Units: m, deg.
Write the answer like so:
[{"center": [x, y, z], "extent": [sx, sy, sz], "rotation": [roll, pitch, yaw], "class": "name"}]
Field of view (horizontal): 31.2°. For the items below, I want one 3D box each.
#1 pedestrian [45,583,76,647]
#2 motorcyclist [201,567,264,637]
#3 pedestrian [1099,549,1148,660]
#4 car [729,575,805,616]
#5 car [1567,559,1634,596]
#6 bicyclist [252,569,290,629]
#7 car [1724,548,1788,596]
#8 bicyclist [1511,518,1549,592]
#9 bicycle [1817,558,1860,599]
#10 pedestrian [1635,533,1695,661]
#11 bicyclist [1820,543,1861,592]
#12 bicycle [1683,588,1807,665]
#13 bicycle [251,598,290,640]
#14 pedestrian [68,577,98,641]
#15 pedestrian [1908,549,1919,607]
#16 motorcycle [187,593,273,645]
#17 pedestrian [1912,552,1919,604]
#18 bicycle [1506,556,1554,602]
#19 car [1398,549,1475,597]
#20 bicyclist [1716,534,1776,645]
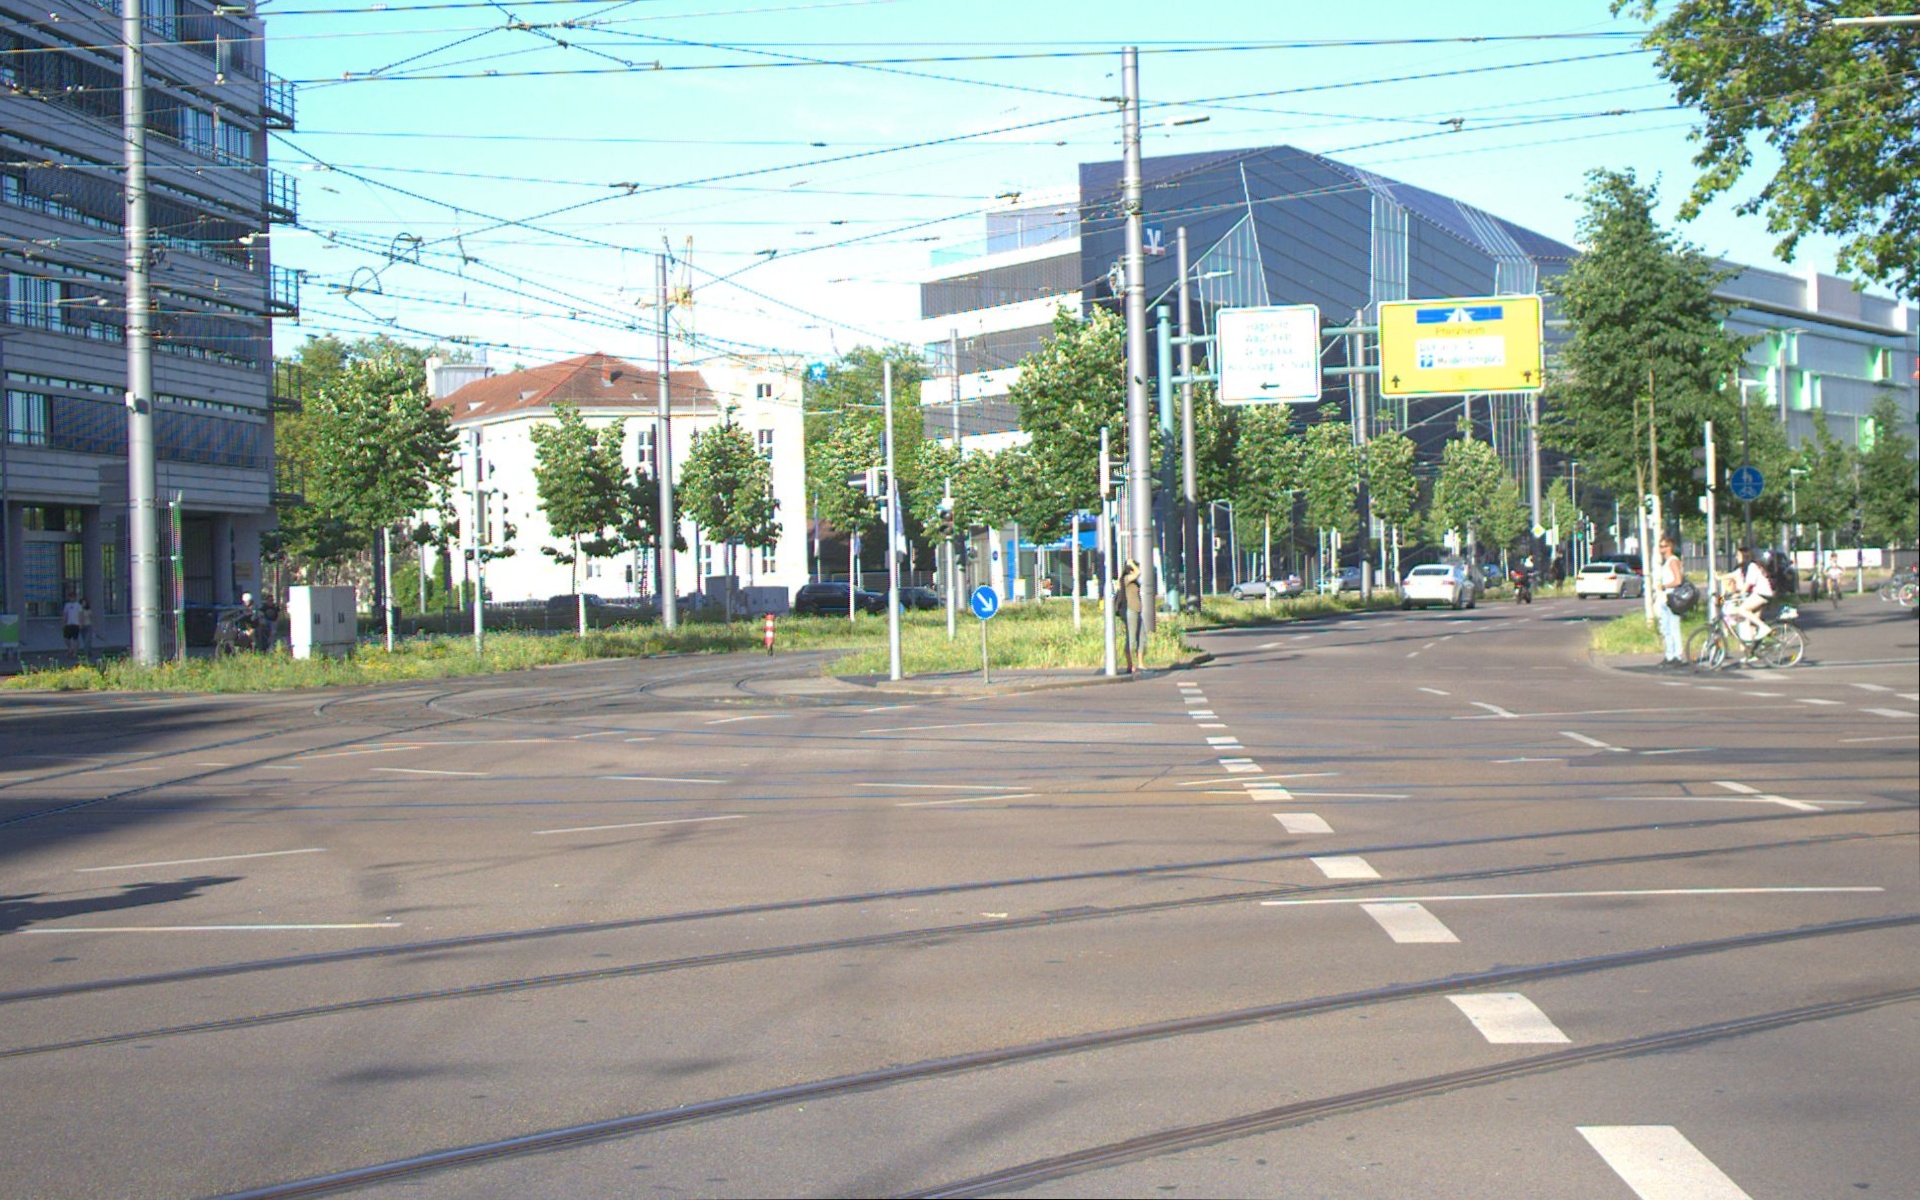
[{"center": [-24.552, 0.414, 93.835], "extent": [0.548, 1.727, 0.641], "rotation": [-2, 1, 7], "class": "pedestrian"}, {"center": [-18.373, 0.050, 86.852], "extent": [1.019, 1.725, 1.460], "rotation": [-1, 0, 12], "class": "motorcyclist"}, {"center": [2.353, 0.064, 49.534], "extent": [0.657, 1.577, 0.489], "rotation": [-1, 1, 5], "class": "pedestrian"}, {"center": [-9.782, -0.233, 174.155], "extent": [1.994, 2.007, 3.999], "rotation": [-2, 1, -35], "class": "car"}, {"center": [25.281, -0.913, 135.581], "extent": [2.017, 1.371, 4.035], "rotation": [-1, 1, 19], "class": "car"}, {"center": [-19.103, -0.032, 95.314], "extent": [0.764, 1.661, 0.994], "rotation": [-1, 1, 3], "class": "bicyclist"}, {"center": [31.456, -1.081, 135.785], "extent": [2.055, 1.867, 4.223], "rotation": [0, 0, 19], "class": "car"}, {"center": [20.679, -1.637, 124.702], "extent": [1.017, 2.615, 1.470], "rotation": [-1, 1, 20], "class": "bicyclist"}, {"center": [25.031, -0.615, 98.013], "extent": [1.040, 1.129, 3.179], "rotation": [-1, 1, 12], "class": "bicycle"}, {"center": [10.193, -0.042, 49.719], "extent": [0.702, 1.830, 0.514], "rotation": [0, 0, 37], "class": "pedestrian"}, {"center": [25.012, -0.932, 97.708], "extent": [1.040, 1.376, 1.563], "rotation": [-1, 1, 12], "class": "bicyclist"}, {"center": [10.840, 0.366, 47.511], "extent": [1.628, 1.018, 0.516], "rotation": [-2, 0, 10], "class": "bicycle"}, {"center": [-19.112, 0.518, 95.293], "extent": [0.642, 1.104, 1.685], "rotation": [-1, 1, 3], "class": "bicycle"}, {"center": [-23.923, 0.235, 93.785], "extent": [0.548, 1.727, 0.641], "rotation": [-2, 1, 7], "class": "pedestrian"}, {"center": [26.149, -0.600, 93.421], "extent": [0.706, 1.564, 0.622], "rotation": [-1, 1, 16], "class": "pedestrian"}, {"center": [-18.405, 0.475, 86.749], "extent": [0.984, 1.227, 2.941], "rotation": [-1, 0, 12], "class": "motorcycle"}, {"center": [20.088, -0.461, 70.791], "extent": [0.785, 1.053, 0.813], "rotation": [-1, 1, 24], "class": "pedestrian"}, {"center": [20.699, -0.782, 124.763], "extent": [1.017, 1.574, 3.571], "rotation": [-1, 1, 20], "class": "bicycle"}, {"center": [15.232, -0.854, 109.784], "extent": [1.903, 1.503, 3.997], "rotation": [0, 0, 16], "class": "car"}, {"center": [10.859, -0.149, 47.488], "extent": [0.743, 1.498, 0.570], "rotation": [-2, 0, 10], "class": "bicyclist"}]
